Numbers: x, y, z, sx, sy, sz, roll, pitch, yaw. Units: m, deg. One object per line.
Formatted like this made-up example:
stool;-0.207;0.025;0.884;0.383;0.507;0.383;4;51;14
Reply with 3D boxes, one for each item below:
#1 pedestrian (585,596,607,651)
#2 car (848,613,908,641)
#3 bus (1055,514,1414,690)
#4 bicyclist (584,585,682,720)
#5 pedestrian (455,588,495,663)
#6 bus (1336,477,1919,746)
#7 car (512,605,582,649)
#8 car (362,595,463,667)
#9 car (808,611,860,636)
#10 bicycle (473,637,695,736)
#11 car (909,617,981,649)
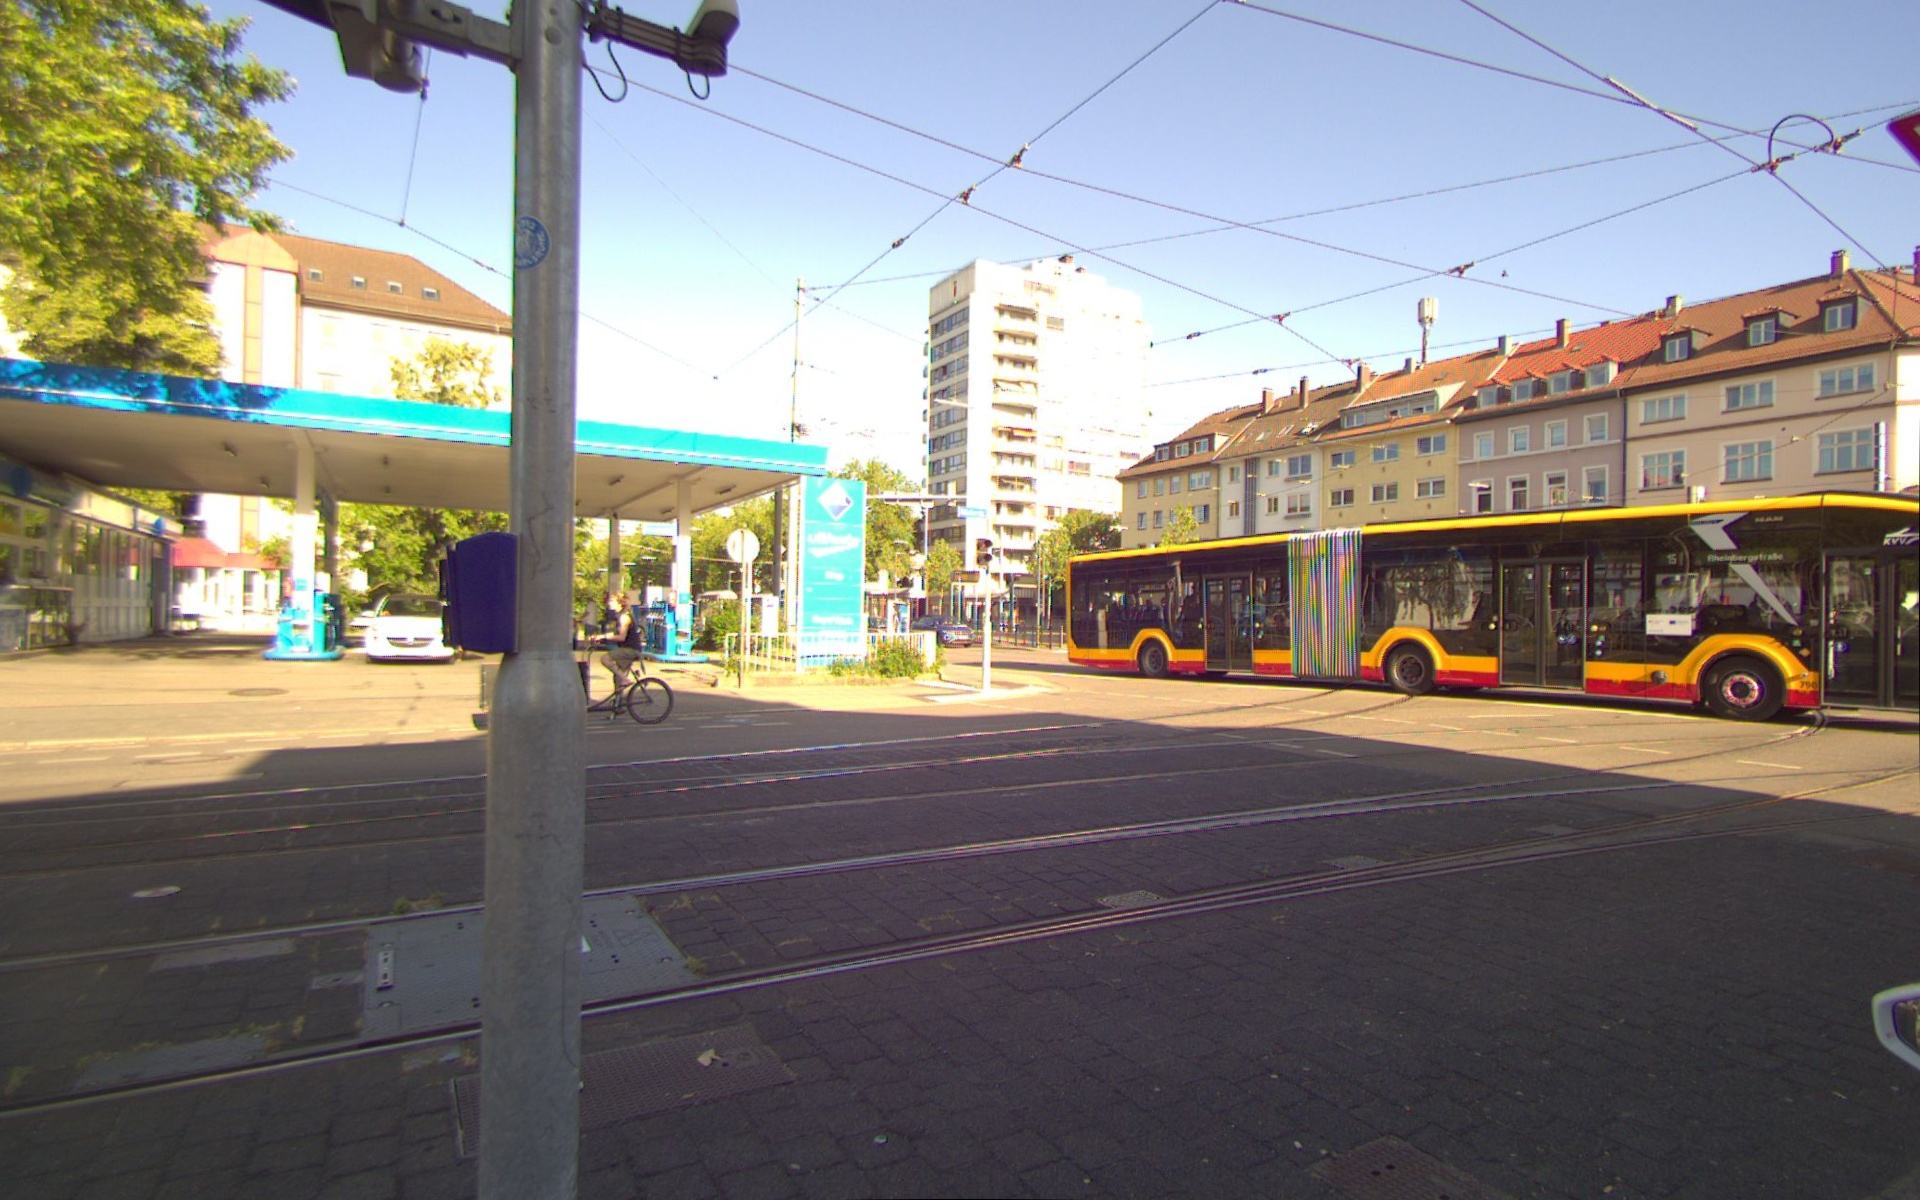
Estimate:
pedestrian;-11.651;0.750;32.118;0.579;1.715;0.756;1;-1;-25
car;-4.486;1.442;54.300;1.697;1.439;4.149;1;-1;-28
bus;6.161;-0.015;24.313;2.760;3.504;8.555;0;1;-35
bicyclist;-4.231;0.656;12.974;1.016;1.659;0.927;1;-1;-30
pedestrian;-11.379;0.590;23.547;0.753;1.715;0.581;1;-1;-34
bus;11.354;0.106;17.058;2.753;3.504;9.346;0;1;-36
car;-13.576;0.854;32.872;1.697;1.360;3.970;1;-1;-28
car;-12.355;0.669;22.551;1.793;1.461;3.966;1;-1;-31
car;-7.614;1.395;60.309;1.697;1.439;4.149;1;-1;-28
bicycle;-4.724;1.039;12.679;2.490;1.116;1.051;1;-1;-30
car;-0.773;1.530;47.864;1.697;1.439;4.149;1;-1;-28
